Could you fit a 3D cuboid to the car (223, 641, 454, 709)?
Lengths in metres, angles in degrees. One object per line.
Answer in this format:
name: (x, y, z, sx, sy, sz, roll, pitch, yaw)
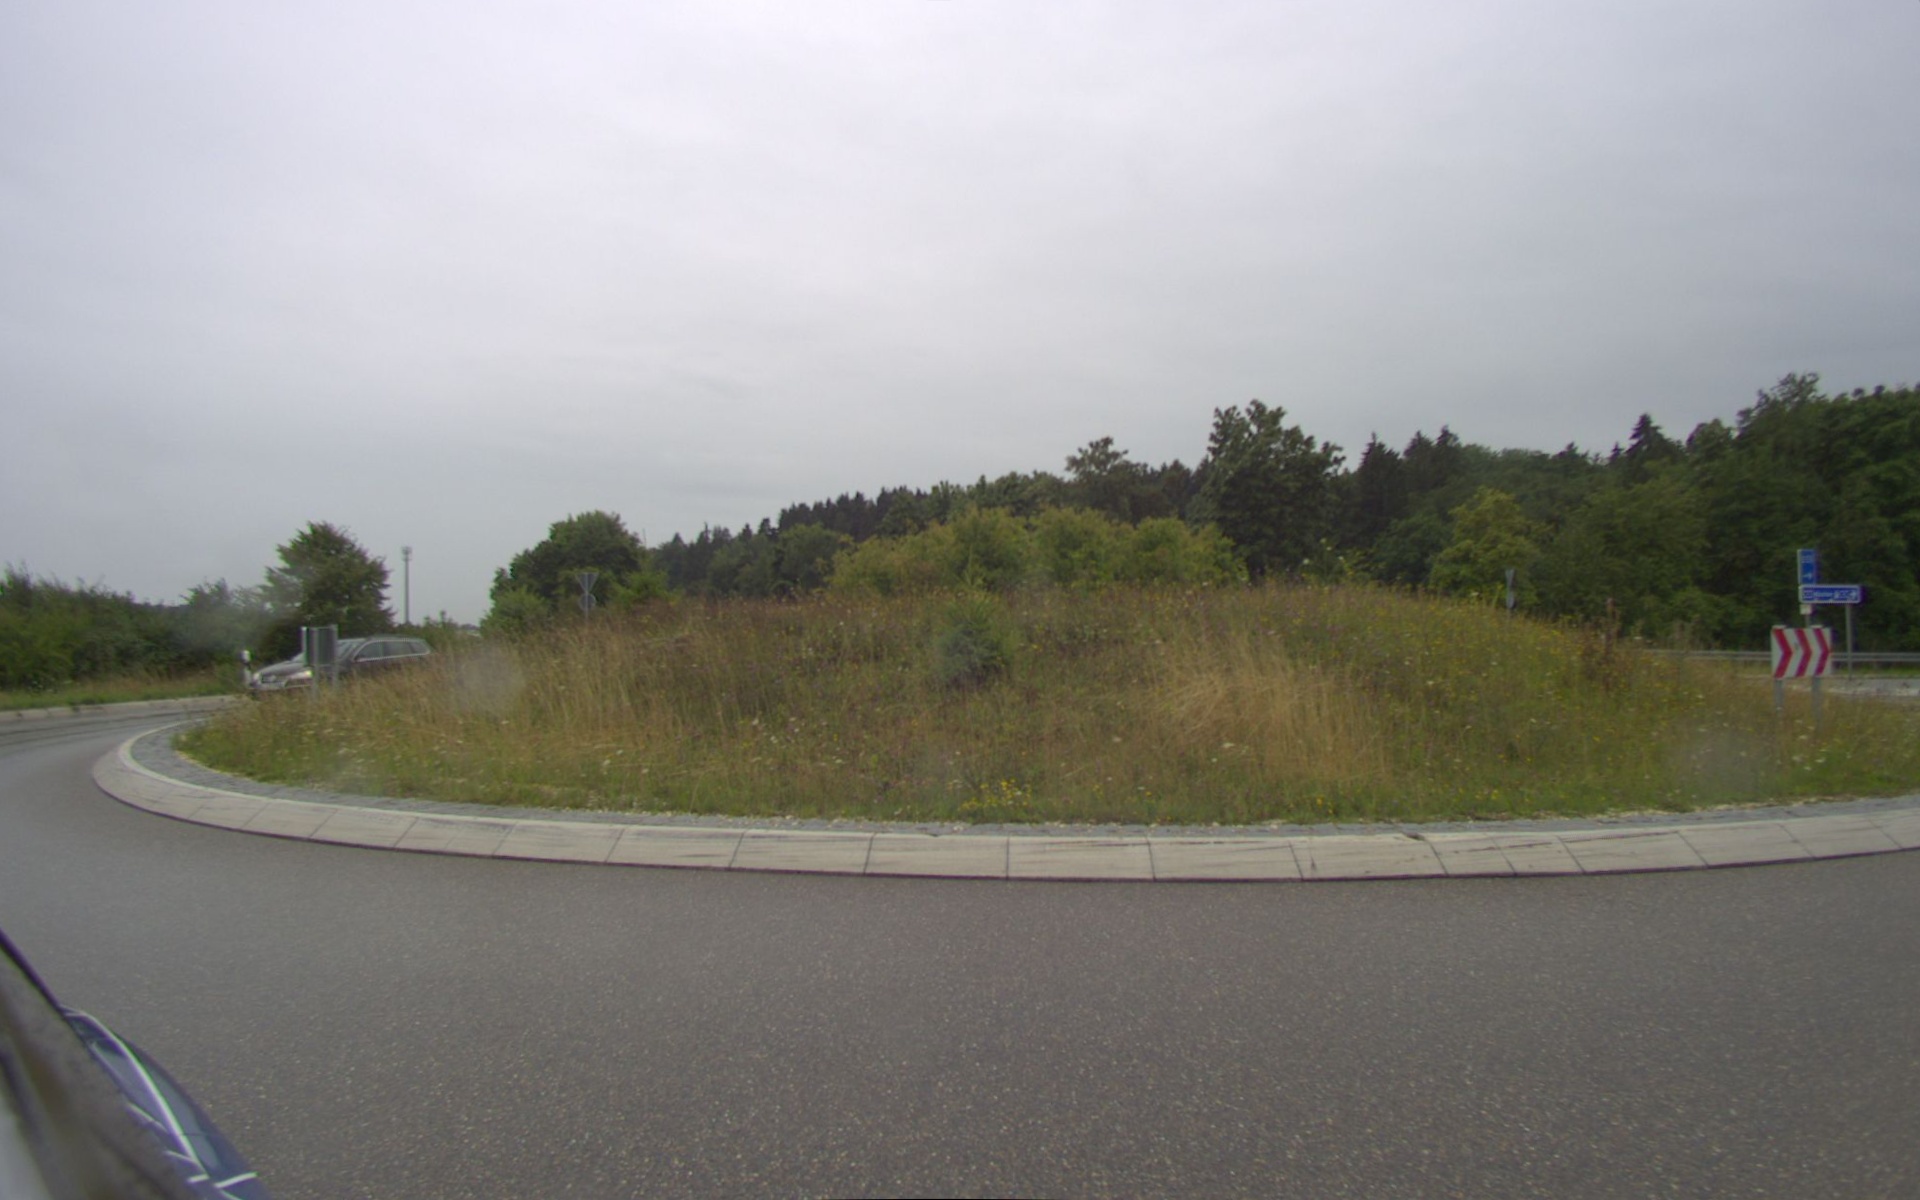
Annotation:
car: (-13.831, 1.669, 22.912, 1.929, 1.382, 4.487, -1, -4, 11)
